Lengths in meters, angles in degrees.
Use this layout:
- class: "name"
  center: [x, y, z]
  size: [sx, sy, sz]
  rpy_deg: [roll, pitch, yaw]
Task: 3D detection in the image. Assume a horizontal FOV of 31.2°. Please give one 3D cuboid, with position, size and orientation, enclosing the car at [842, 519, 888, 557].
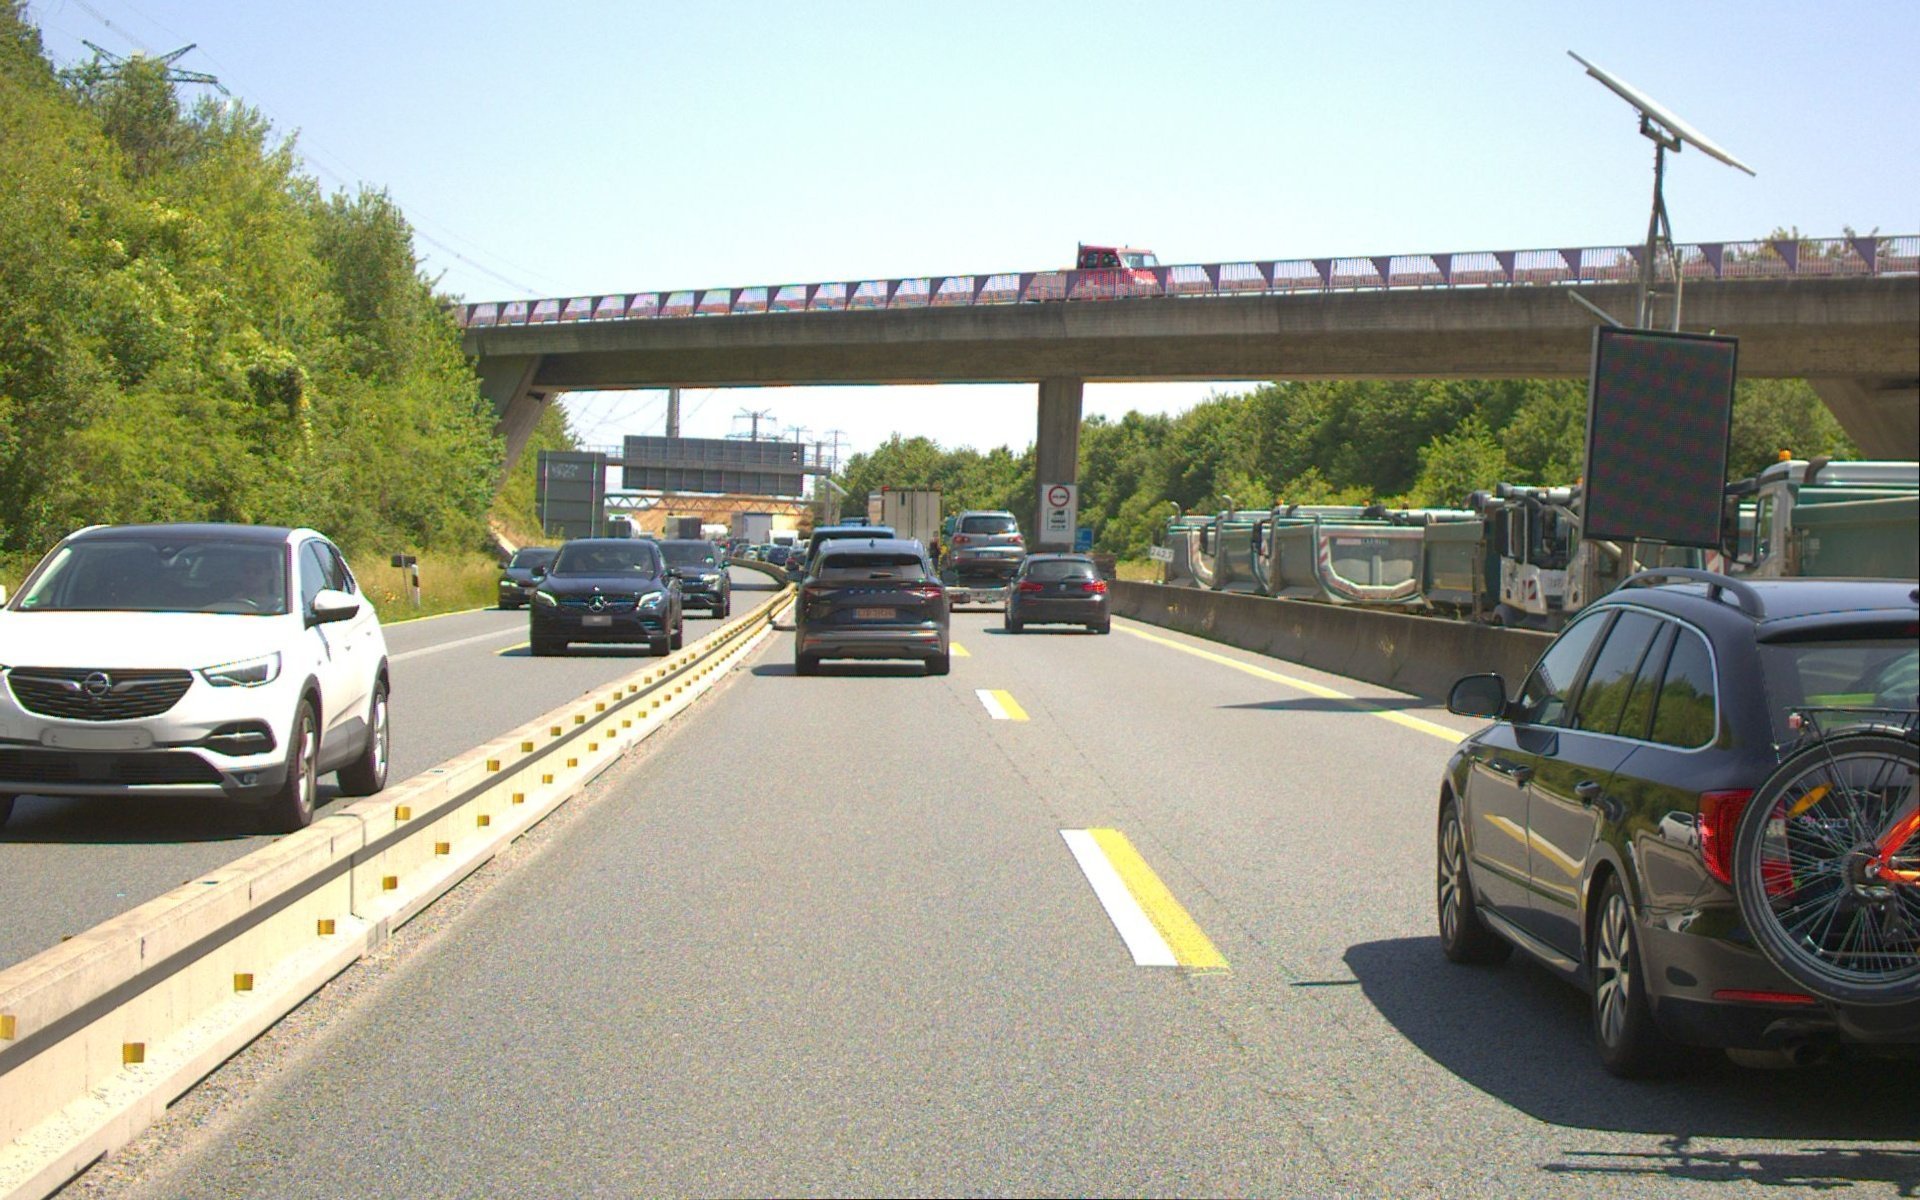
- class: "car"
  center: [-5.085, -3.306, 183.470]
  size: [1.899, 1.962, 4.277]
  rpy_deg: [1, 1, -8]

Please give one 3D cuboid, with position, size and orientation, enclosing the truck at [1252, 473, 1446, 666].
- class: "truck"
  center: [8.043, -0.682, 72.274]
  size: [2.687, 3.748, 9.326]
  rpy_deg: [1, 1, -2]

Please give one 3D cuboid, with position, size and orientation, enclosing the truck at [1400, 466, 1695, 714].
- class: "truck"
  center: [9.075, -0.232, 54.285]
  size: [2.687, 3.545, 9.326]
  rpy_deg: [1, 1, -2]

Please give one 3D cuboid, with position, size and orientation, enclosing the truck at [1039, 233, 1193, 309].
- class: "truck"
  center: [5.100, -10.788, 113.196]
  size: [1.931, 2.059, 5.514]
  rpy_deg: [1, 1, -37]

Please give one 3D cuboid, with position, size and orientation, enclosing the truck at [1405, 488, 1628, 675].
- class: "truck"
  center: [11.283, -0.432, 70.628]
  size: [2.687, 3.545, 9.326]
  rpy_deg: [1, 1, -2]

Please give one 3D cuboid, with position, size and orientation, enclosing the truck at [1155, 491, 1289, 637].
- class: "truck"
  center: [7.232, -1.038, 96.163]
  size: [2.687, 3.830, 9.326]
  rpy_deg: [1, 1, -2]

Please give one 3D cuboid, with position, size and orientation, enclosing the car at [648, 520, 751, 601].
- class: "car"
  center: [-5.450, -0.851, 72.428]
  size: [1.843, 1.605, 4.699]
  rpy_deg: [2, 1, -1]

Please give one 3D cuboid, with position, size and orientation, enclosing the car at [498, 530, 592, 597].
- class: "car"
  center: [-9.672, -0.868, 80.411]
  size: [1.723, 1.516, 4.185]
  rpy_deg: [1, 1, -1]

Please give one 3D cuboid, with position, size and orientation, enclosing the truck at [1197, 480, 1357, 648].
- class: "truck"
  center: [7.618, -0.912, 83.861]
  size: [2.687, 3.842, 9.326]
  rpy_deg: [1, 1, -2]

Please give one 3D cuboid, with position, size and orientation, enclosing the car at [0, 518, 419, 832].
- class: "car"
  center: [-4.296, 0.322, 19.293]
  size: [1.843, 1.528, 4.671]
  rpy_deg: [1, 1, -1]

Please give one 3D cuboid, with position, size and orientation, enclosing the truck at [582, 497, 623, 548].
- class: "truck"
  center: [-23.010, -4.958, 221.283]
  size: [2.508, 3.175, 10.112]
  rpy_deg: [1, 1, -6]

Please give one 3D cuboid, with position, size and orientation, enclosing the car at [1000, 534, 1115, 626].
- class: "car"
  center: [1.733, -0.383, 62.209]
  size: [1.899, 1.580, 4.276]
  rpy_deg: [1, 1, -1]

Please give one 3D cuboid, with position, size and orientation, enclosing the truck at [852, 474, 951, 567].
- class: "truck"
  center: [-2.594, -3.399, 148.520]
  size: [3.292, 3.832, 10.112]
  rpy_deg: [1, 1, -6]

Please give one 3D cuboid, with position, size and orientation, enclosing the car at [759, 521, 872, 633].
- class: "car"
  center: [-2.625, -0.444, 63.172]
  size: [1.899, 1.962, 4.276]
  rpy_deg: [1, 1, 0]

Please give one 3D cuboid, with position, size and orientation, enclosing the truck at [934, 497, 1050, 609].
- class: "truck"
  center: [0.713, -1.172, 83.225]
  size: [2.405, 2.549, 7.501]
  rpy_deg: [1, 1, -2]

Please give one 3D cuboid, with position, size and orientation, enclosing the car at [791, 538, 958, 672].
- class: "car"
  center: [-0.999, 0.026, 41.657]
  size: [1.899, 1.500, 4.276]
  rpy_deg: [1, 1, 0]

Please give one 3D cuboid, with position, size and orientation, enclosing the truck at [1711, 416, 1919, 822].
- class: "truck"
  center: [9.715, 0.120, 33.311]
  size: [2.687, 3.545, 9.407]
  rpy_deg: [1, 1, 0]

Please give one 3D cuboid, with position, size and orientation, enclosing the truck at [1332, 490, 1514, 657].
- class: "truck"
  center: [10.888, -0.687, 81.803]
  size: [2.687, 3.714, 9.326]
  rpy_deg: [1, 1, -2]

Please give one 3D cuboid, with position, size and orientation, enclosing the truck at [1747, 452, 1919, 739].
- class: "truck"
  center: [12.513, -0.083, 43.079]
  size: [2.687, 3.366, 9.604]
  rpy_deg: [1, 1, -2]

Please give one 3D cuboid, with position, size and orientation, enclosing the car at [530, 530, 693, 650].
- class: "car"
  center: [-4.812, -0.177, 48.082]
  size: [1.843, 1.528, 4.671]
  rpy_deg: [2, 1, -1]

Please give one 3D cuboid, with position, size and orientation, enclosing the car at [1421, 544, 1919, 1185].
- class: "car"
  center: [2.718, 0.603, 10.480]
  size: [1.899, 1.485, 4.948]
  rpy_deg: [1, 1, 0]

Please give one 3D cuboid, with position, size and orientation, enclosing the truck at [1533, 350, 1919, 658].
- class: "truck"
  center: [9.775, -1.198, 44.736]
  size: [2.687, 3.545, 9.326]
  rpy_deg: [1, 1, -2]
